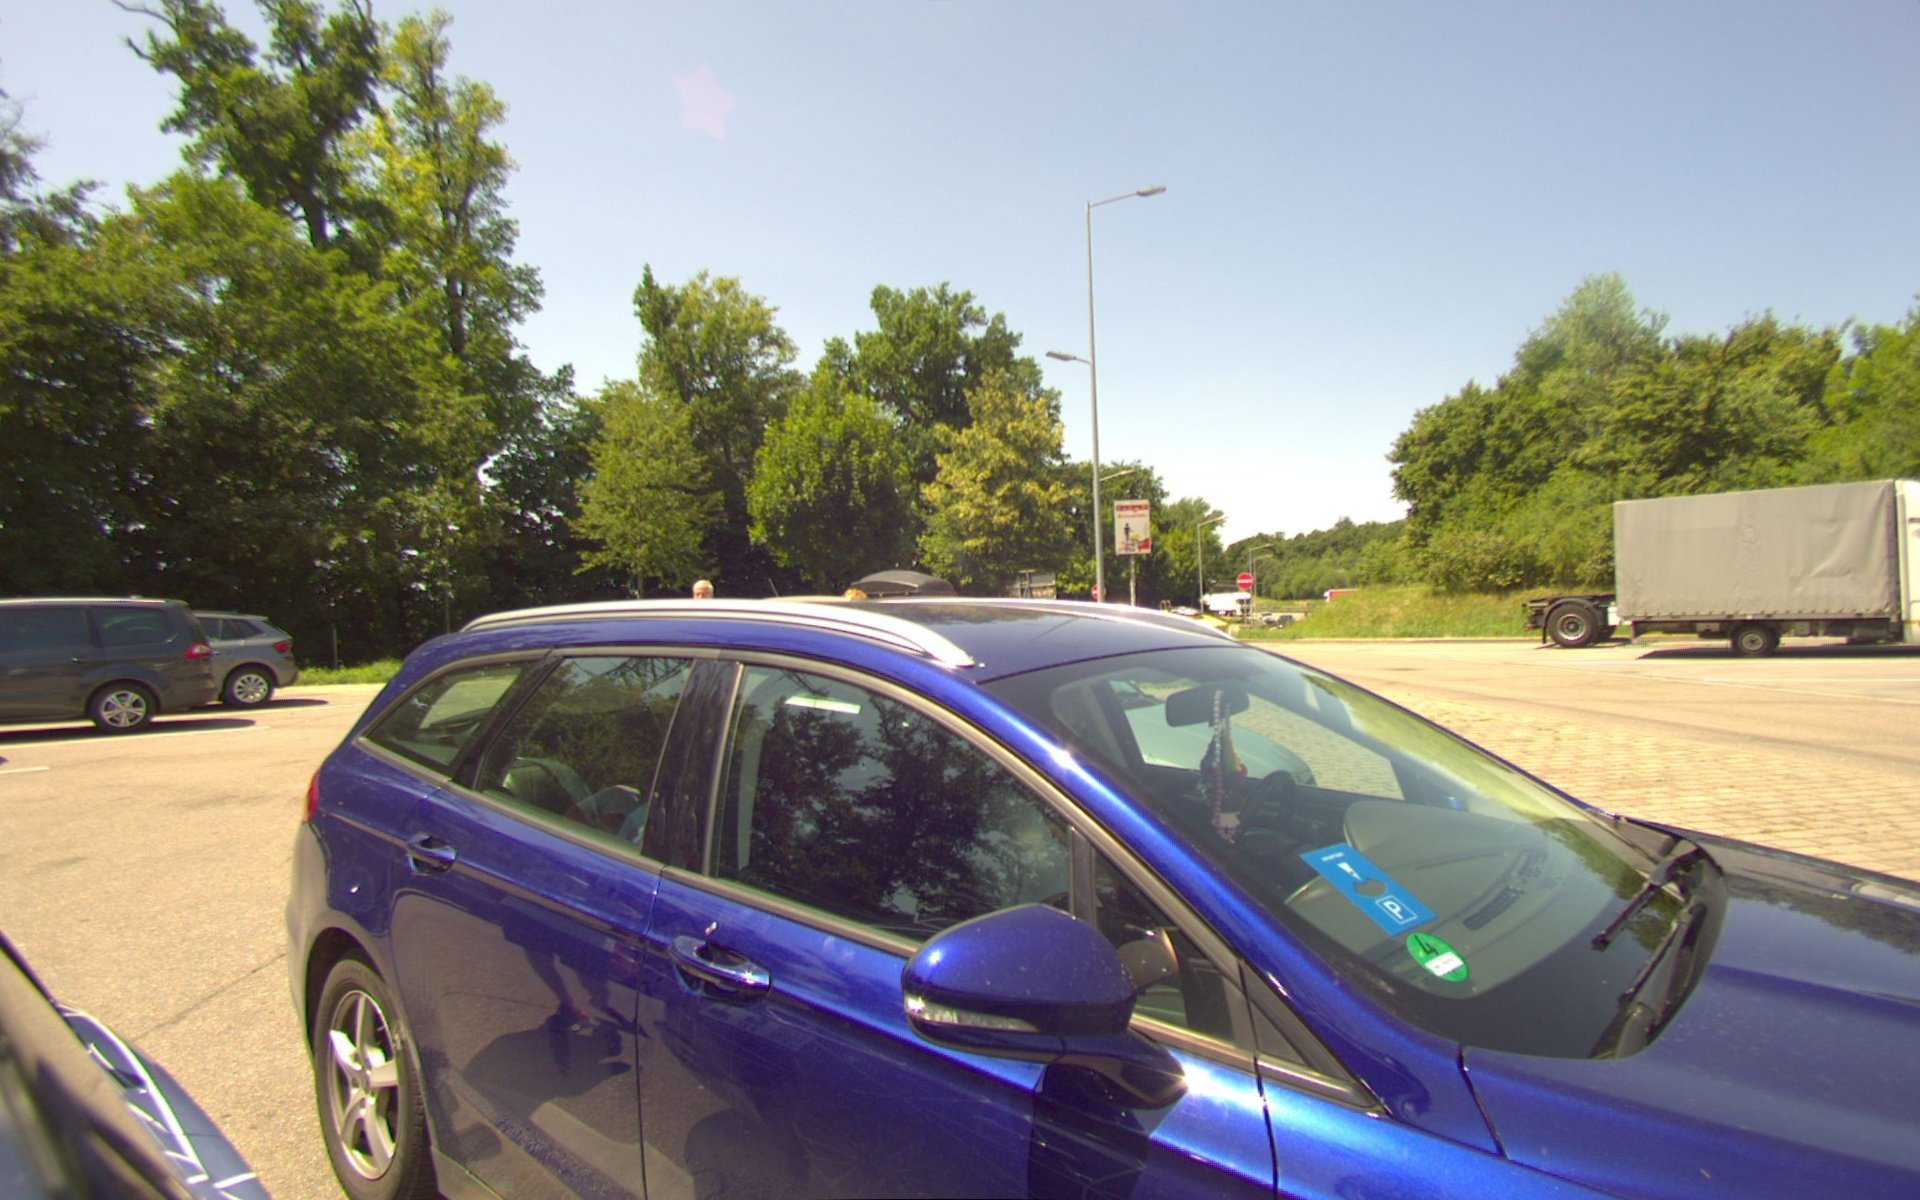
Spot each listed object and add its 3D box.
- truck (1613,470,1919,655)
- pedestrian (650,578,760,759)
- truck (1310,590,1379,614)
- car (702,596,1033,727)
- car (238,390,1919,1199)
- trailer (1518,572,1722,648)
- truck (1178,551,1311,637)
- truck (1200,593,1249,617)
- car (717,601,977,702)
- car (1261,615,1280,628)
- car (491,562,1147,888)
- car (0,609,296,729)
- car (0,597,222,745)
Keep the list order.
[{"bbox_3d":[16.763,-0.636,18.858,7.347,3.152,2.339,-3,-2,41],"label":"truck"},{"bbox_3d":[-2.406,0.624,9.531,0.759,1.614,0.663,-3,-1,41],"label":"pedestrian"},{"bbox_3d":[70.716,0.443,186.798,3.213,3.859,15.647,-1,-1,-15],"label":"truck"},{"bbox_3d":[-1.360,0.763,13.525,4.466,1.476,1.756,-3,-1,40],"label":"car"},{"bbox_3d":[0.242,0.634,2.093,4.466,1.476,1.756,-3,-1,40],"label":"car"},{"bbox_3d":[15.778,0.282,24.315,3.900,1.674,1.456,-3,-1,41],"label":"trailer"},{"bbox_3d":[13.329,-0.234,47.413,5.782,3.720,1.987,-2,-1,20],"label":"truck"},{"bbox_3d":[46.829,1.003,179.860,2.851,3.859,15.627,-2,-1,-7],"label":"truck"},{"bbox_3d":[-2.012,0.835,17.078,4.466,1.476,1.756,-3,-1,40],"label":"car"},{"bbox_3d":[41.277,2.845,134.611,1.980,1.530,3.983,-2,-1,13],"label":"car"},{"bbox_3d":[-1.188,0.635,6.708,4.466,1.476,1.756,-3,-1,40],"label":"car"},{"bbox_3d":[-12.711,0.979,15.598,3.910,1.598,1.782,-1,-1,-43],"label":"car"},{"bbox_3d":[-11.682,0.853,12.548,3.910,1.701,1.782,-1,-1,-43],"label":"car"}]
